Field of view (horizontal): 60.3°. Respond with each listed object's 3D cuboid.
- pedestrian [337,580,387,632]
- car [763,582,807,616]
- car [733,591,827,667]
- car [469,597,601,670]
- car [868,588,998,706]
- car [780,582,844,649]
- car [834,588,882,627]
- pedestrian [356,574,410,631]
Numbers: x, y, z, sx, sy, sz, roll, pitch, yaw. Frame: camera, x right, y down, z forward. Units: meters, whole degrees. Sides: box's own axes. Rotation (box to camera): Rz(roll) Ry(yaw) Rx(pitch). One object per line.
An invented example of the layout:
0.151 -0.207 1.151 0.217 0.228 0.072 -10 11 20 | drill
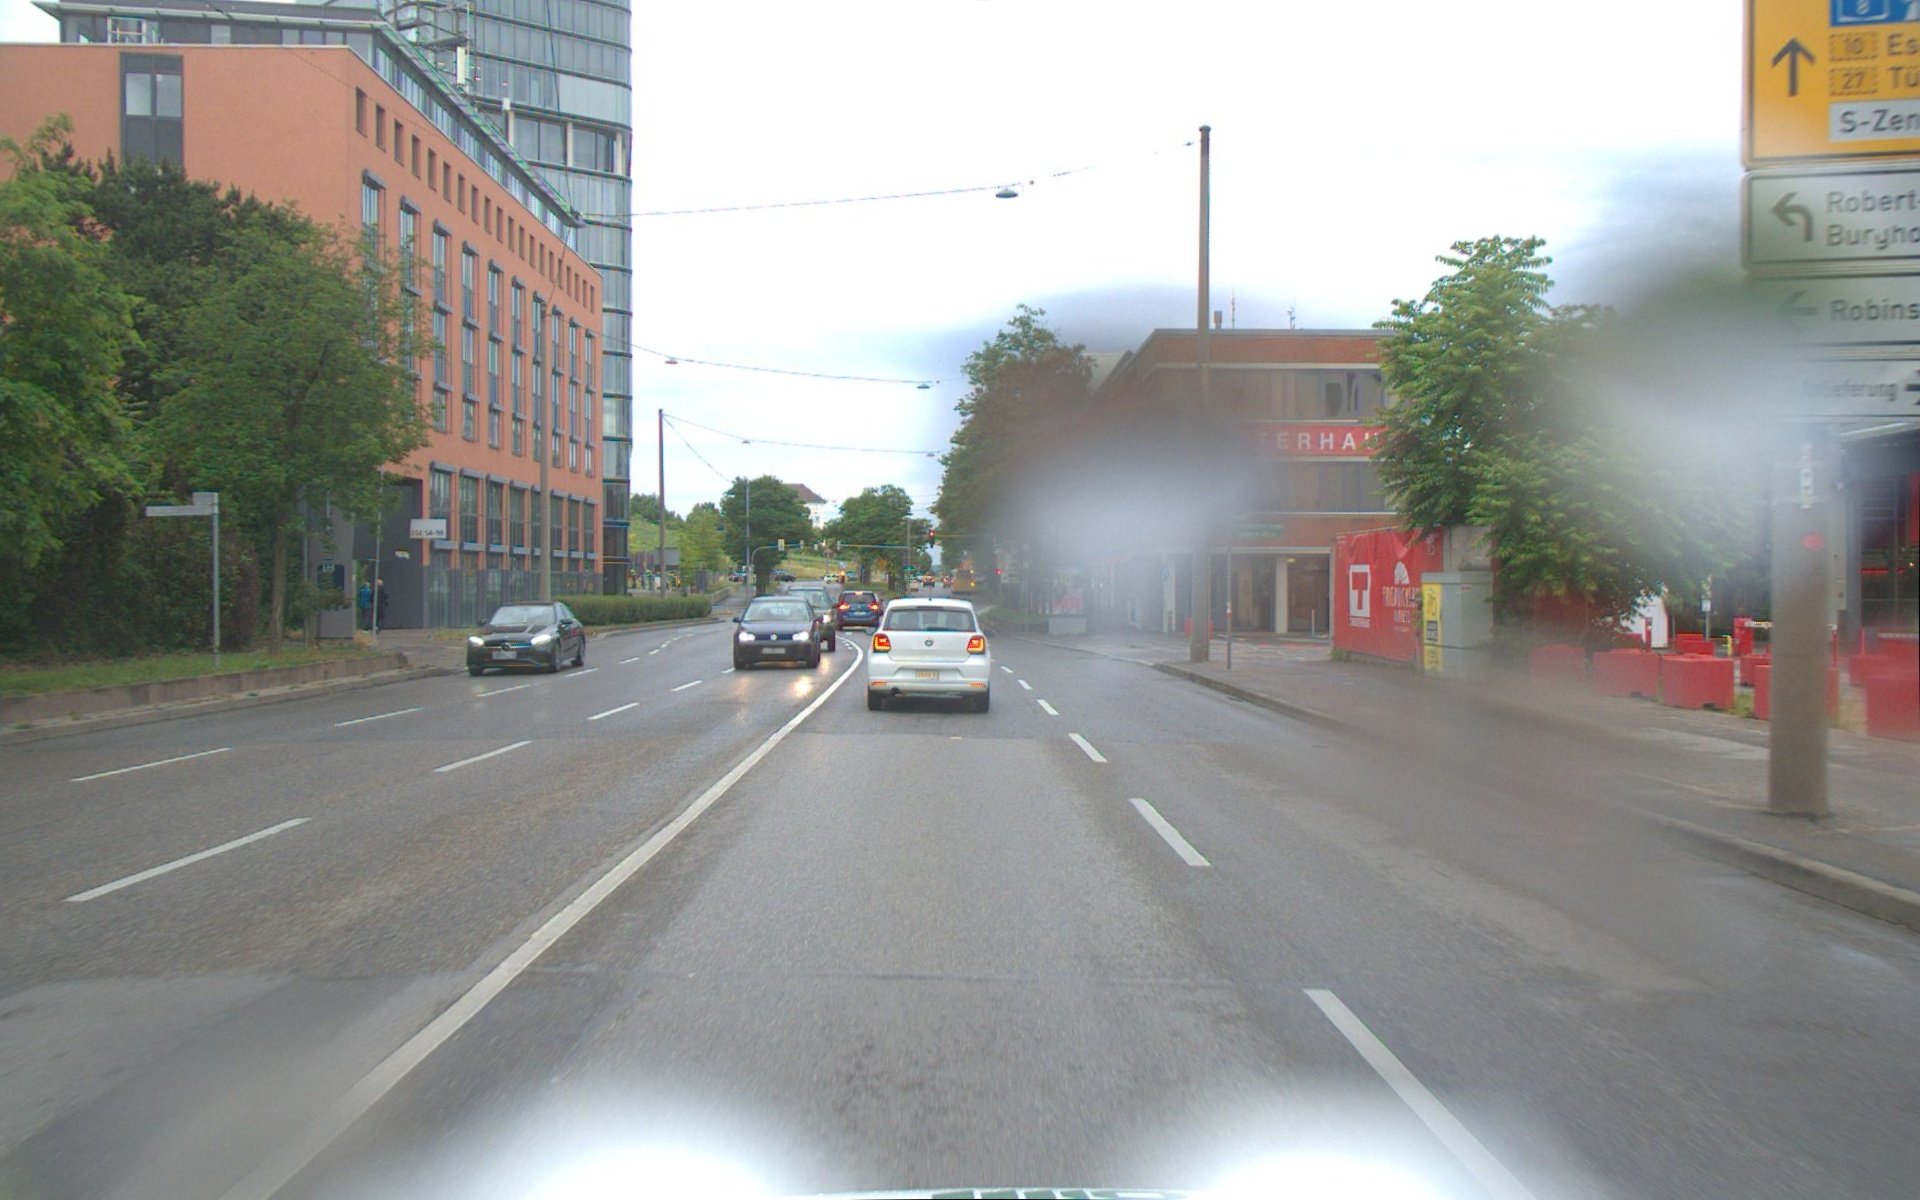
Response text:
-20.669 0.232 57.188 1.182 1.708 1.419 -2 -2 -1 | pedestrian
-7.295 -0.038 69.249 1.678 1.389 3.996 -1 0 -4 | car
-3.749 0.567 34.985 1.625 1.512 3.819 0 0 -1 | car
-8.966 0.660 35.232 1.588 1.346 4.447 -2 1 0 | car
-0.383 0.587 22.924 1.637 1.499 3.778 0 0 -1 | car
-3.985 0.387 45.041 1.472 1.695 3.419 0 1 -1 | car
-4.274 0.297 69.786 1.953 1.601 3.998 0 0 -3 | car
-19.713 0.106 56.573 1.289 1.855 1.438 -2 -2 -1 | pedestrian
